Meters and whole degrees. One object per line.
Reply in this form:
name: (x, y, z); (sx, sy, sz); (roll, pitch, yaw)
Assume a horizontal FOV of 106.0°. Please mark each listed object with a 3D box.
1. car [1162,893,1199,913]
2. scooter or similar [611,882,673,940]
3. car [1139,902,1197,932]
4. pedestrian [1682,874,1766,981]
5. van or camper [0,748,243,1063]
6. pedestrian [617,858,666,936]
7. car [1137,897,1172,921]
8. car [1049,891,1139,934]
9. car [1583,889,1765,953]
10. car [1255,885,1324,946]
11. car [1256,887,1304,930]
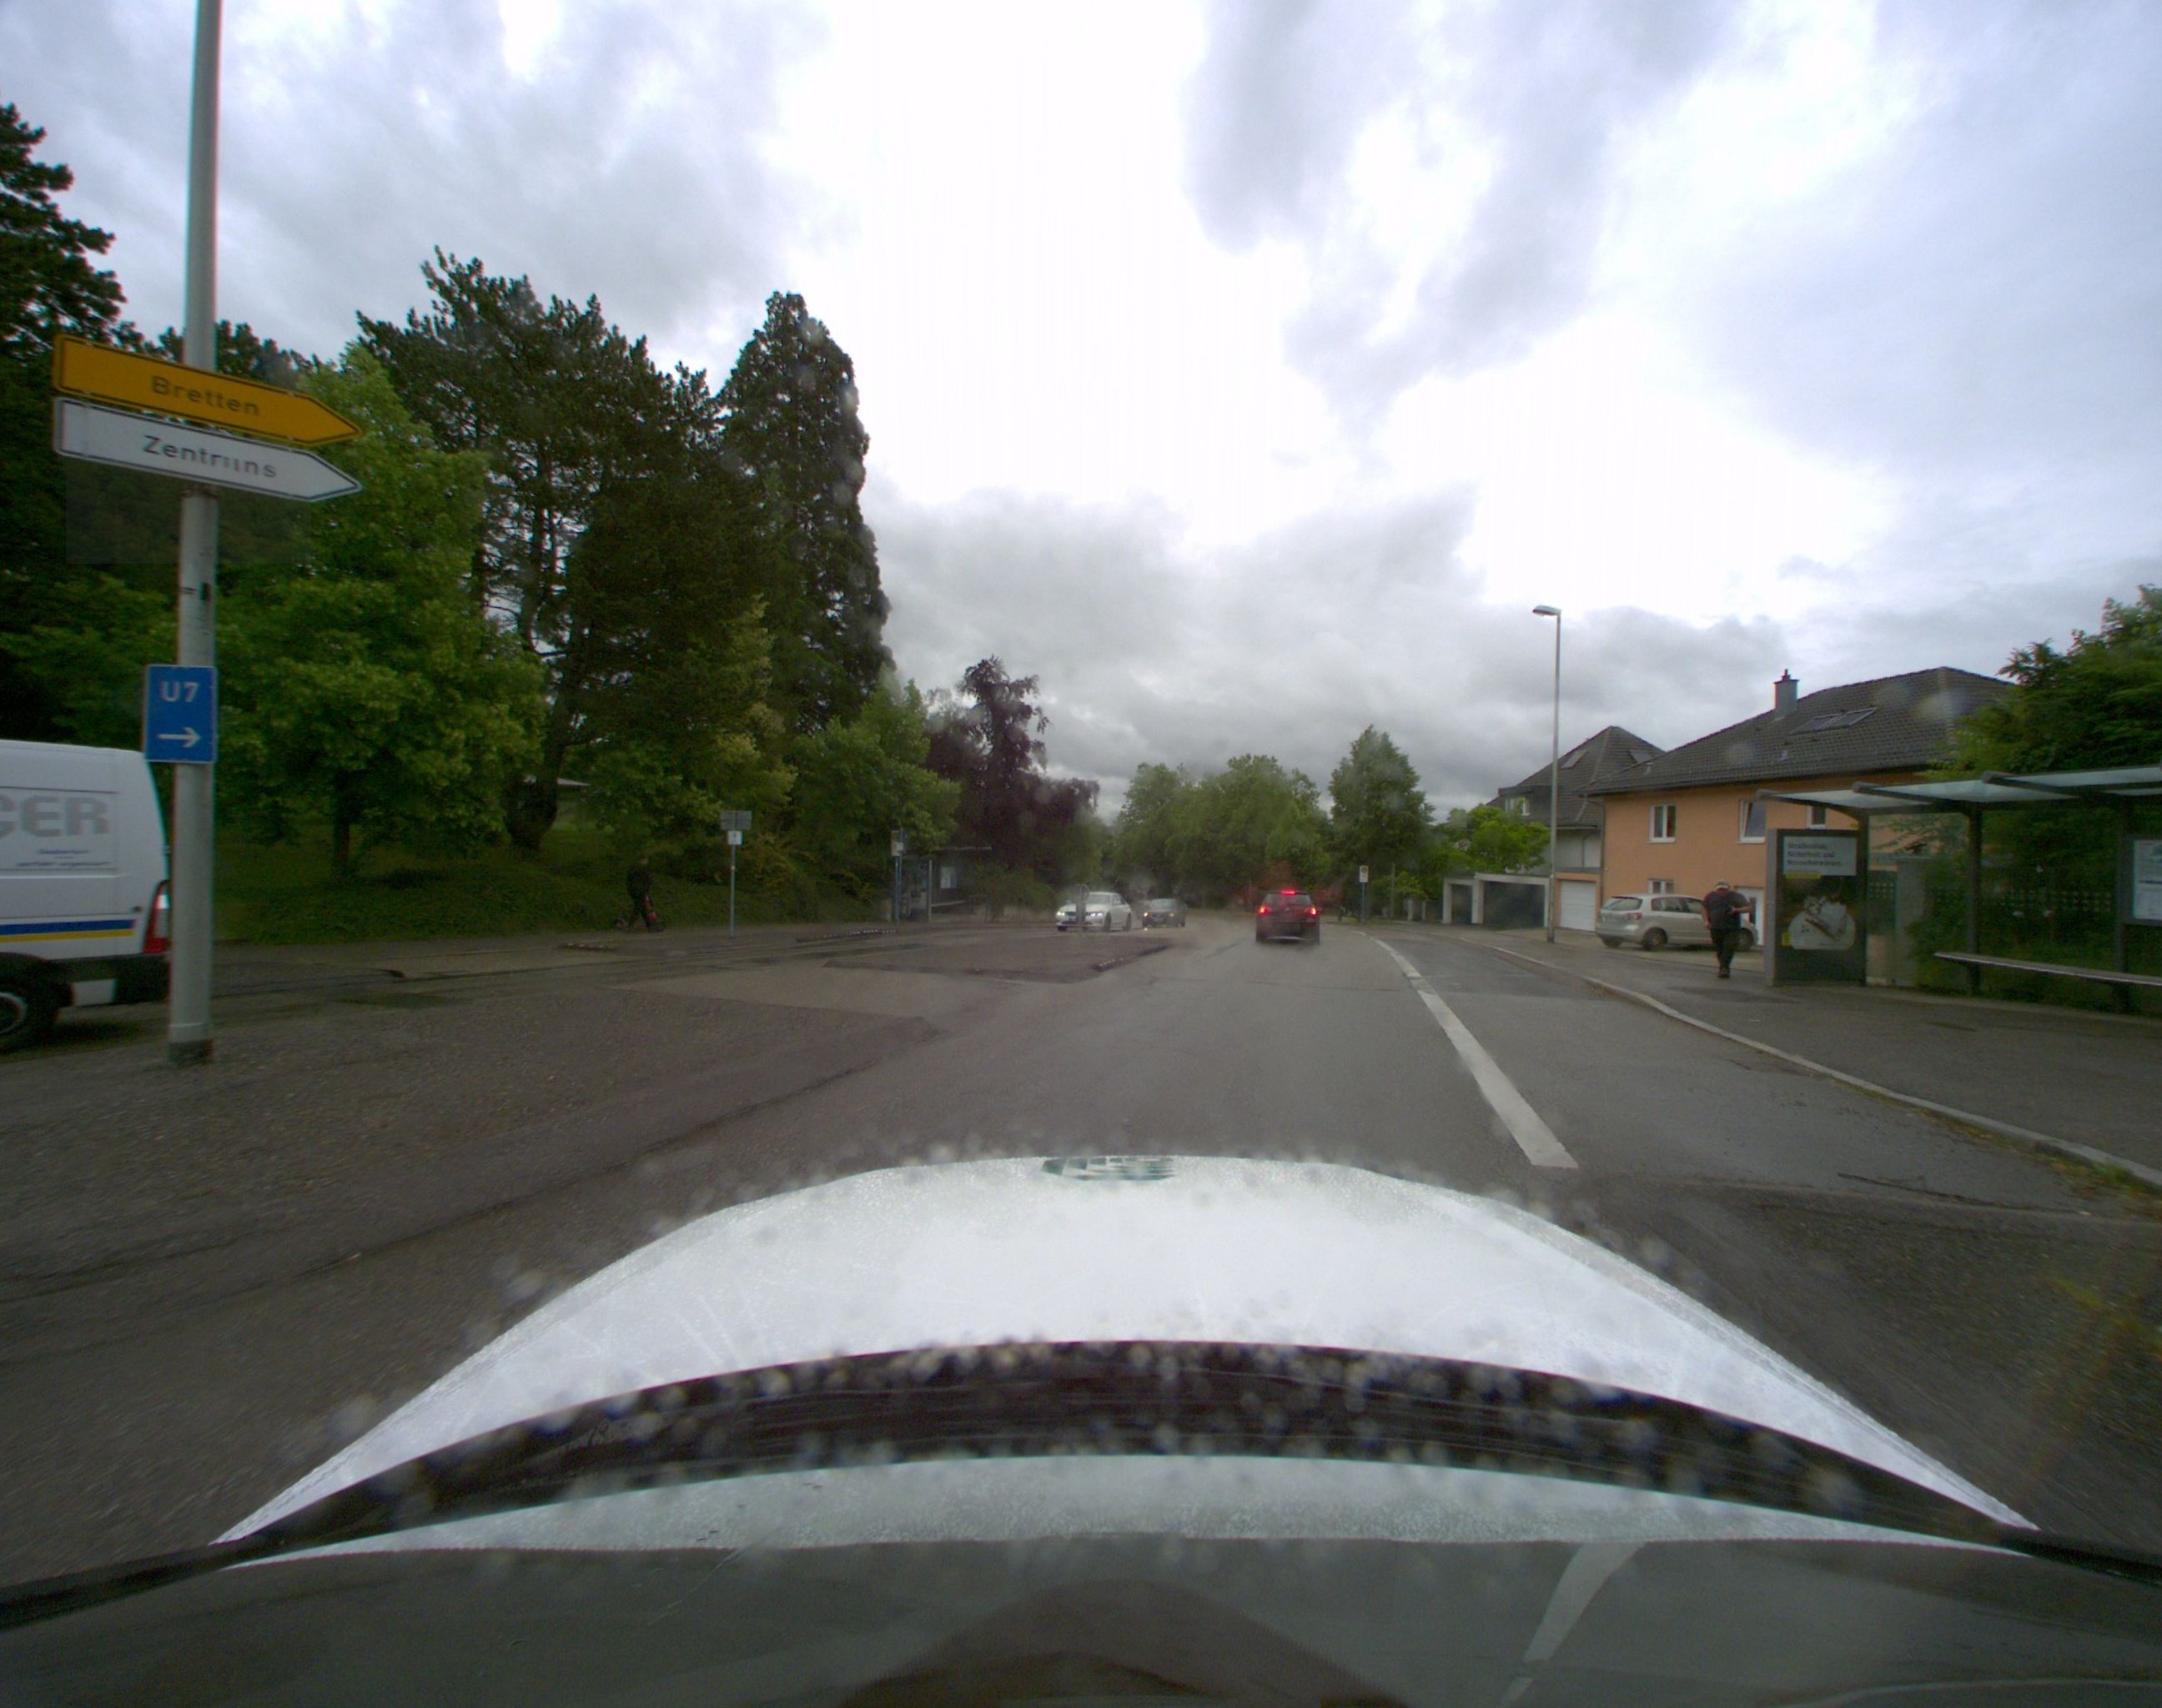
car: (10.041, 4.930, 82.467); (2.073, 1.839, 3.970); (1, -1, -22)
scooter or similar: (-10.062, 1.282, 18.724); (0.437, 1.250, 1.319); (1, -2, 14)
car: (4.434, 3.122, 40.947); (1.893, 1.393, 4.535); (1, -3, 18)
pedestrian: (10.743, 1.207, 13.628); (1.000, 1.696, 0.962); (-3, -4, 39)
van or camper: (-9.824, 0.326, 5.224); (2.174, 2.378, 5.701); (1, -2, 26)
pedestrian: (-9.955, 0.968, 18.476); (0.739, 1.726, 0.812); (2, -2, -15)
car: (6.363, 4.775, 71.134); (2.066, 1.839, 3.985); (1, -1, -11)
car: (0.581, 2.123, 29.764); (1.893, 1.393, 4.536); (1, -4, 19)
car: (16.663, 1.864, 23.003); (3.882, 1.632, 1.899); (2, -1, -5)
car: (6.086, 1.753, 23.786); (1.752, 1.539, 4.014); (2, -3, 15)
car: (8.868, 2.400, 36.591); (1.754, 1.802, 4.256); (-1, -2, 9)
